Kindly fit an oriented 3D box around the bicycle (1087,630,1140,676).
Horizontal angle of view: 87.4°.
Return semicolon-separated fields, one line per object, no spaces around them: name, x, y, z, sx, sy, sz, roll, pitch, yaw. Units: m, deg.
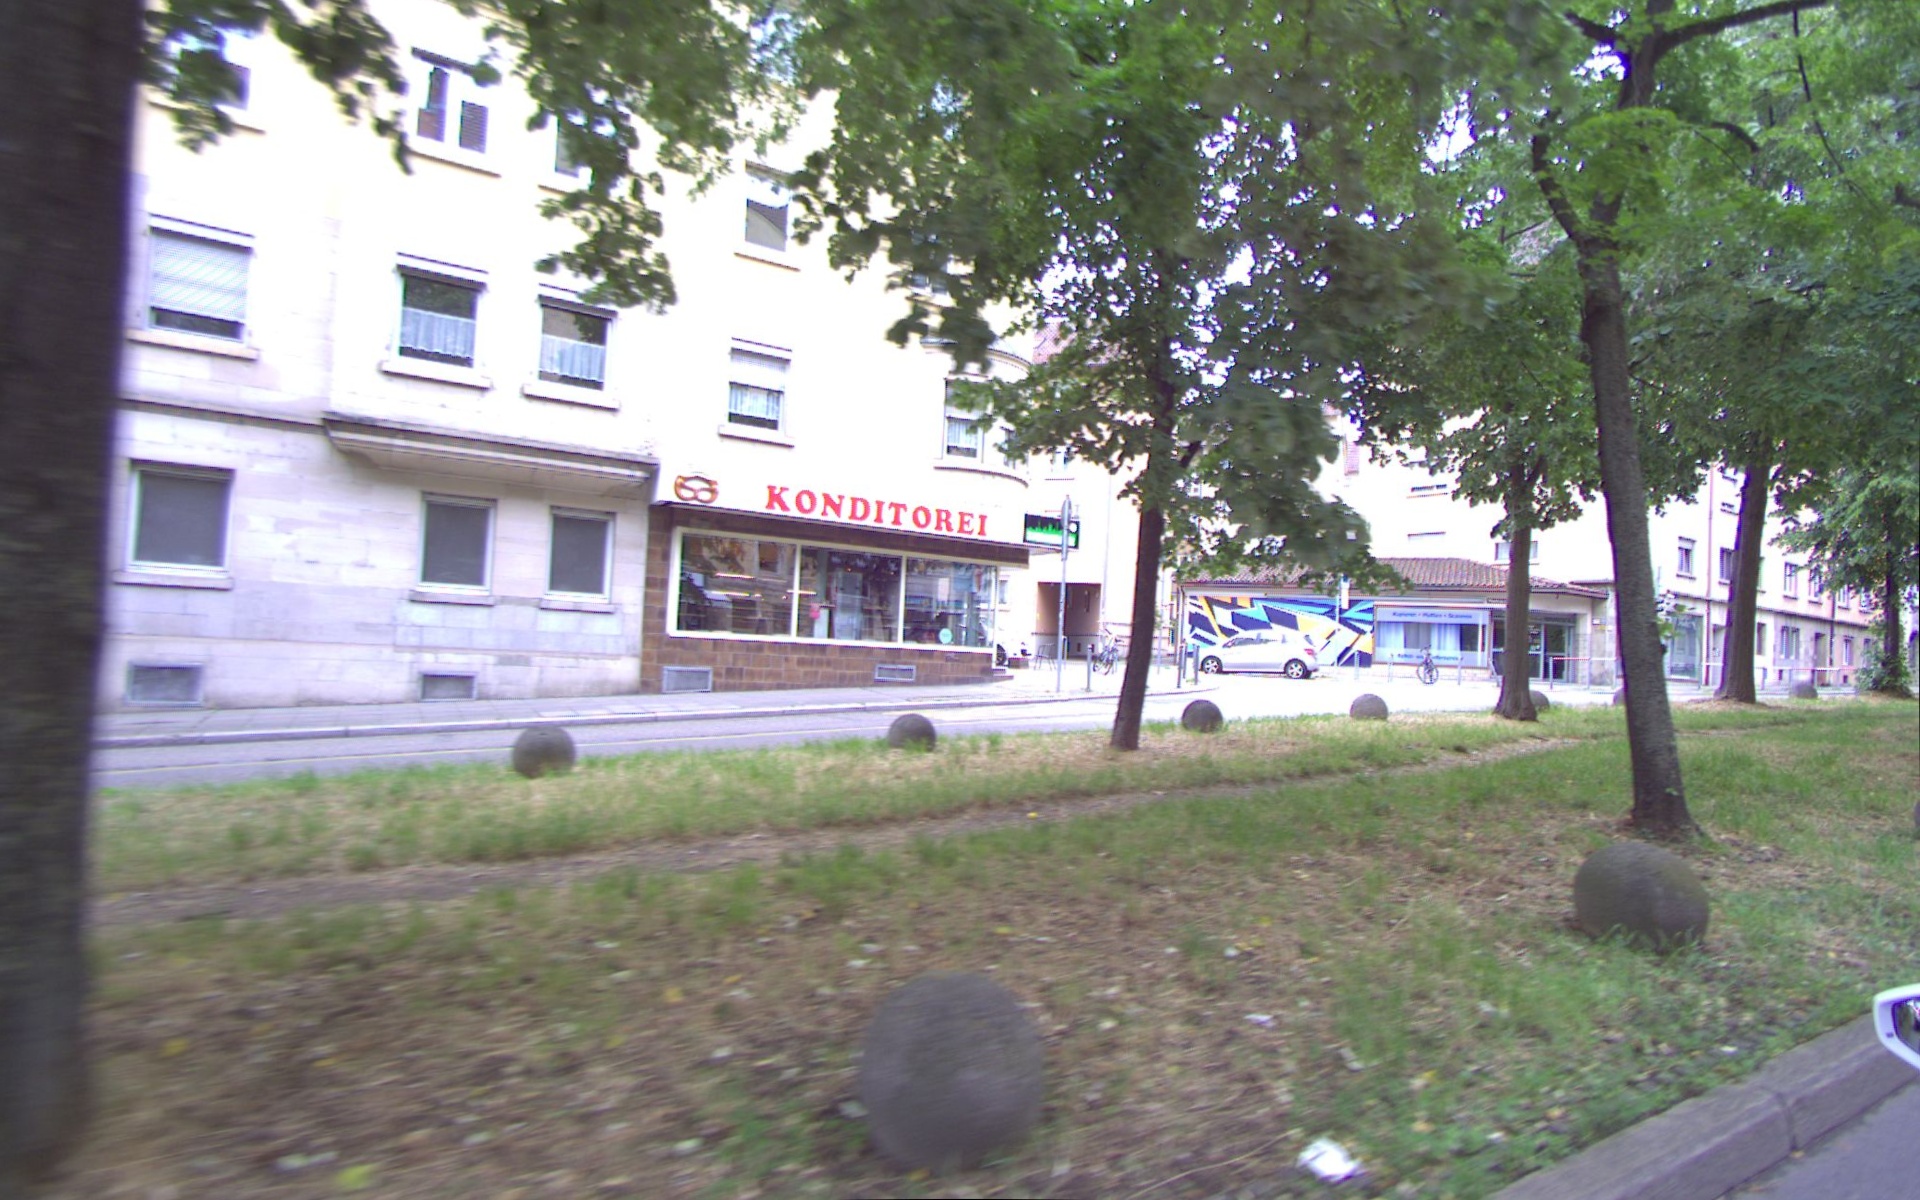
bicycle;4.058;1.397;26.756;0.851;1.060;2.458;2;0;-4

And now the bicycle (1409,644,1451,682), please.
bicycle;14.779;1.979;31.566;0.752;1.099;2.030;2;-1;37

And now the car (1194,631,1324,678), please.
car;10.145;1.866;34.108;3.967;1.498;1.820;-2;-4;26

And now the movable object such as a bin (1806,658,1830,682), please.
movable object such as a bin;39.118;3.187;45.781;0.684;1.073;0.687;4;-2;-36

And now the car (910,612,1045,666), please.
car;0.544;1.197;30.922;3.696;1.531;1.820;0;-3;27
